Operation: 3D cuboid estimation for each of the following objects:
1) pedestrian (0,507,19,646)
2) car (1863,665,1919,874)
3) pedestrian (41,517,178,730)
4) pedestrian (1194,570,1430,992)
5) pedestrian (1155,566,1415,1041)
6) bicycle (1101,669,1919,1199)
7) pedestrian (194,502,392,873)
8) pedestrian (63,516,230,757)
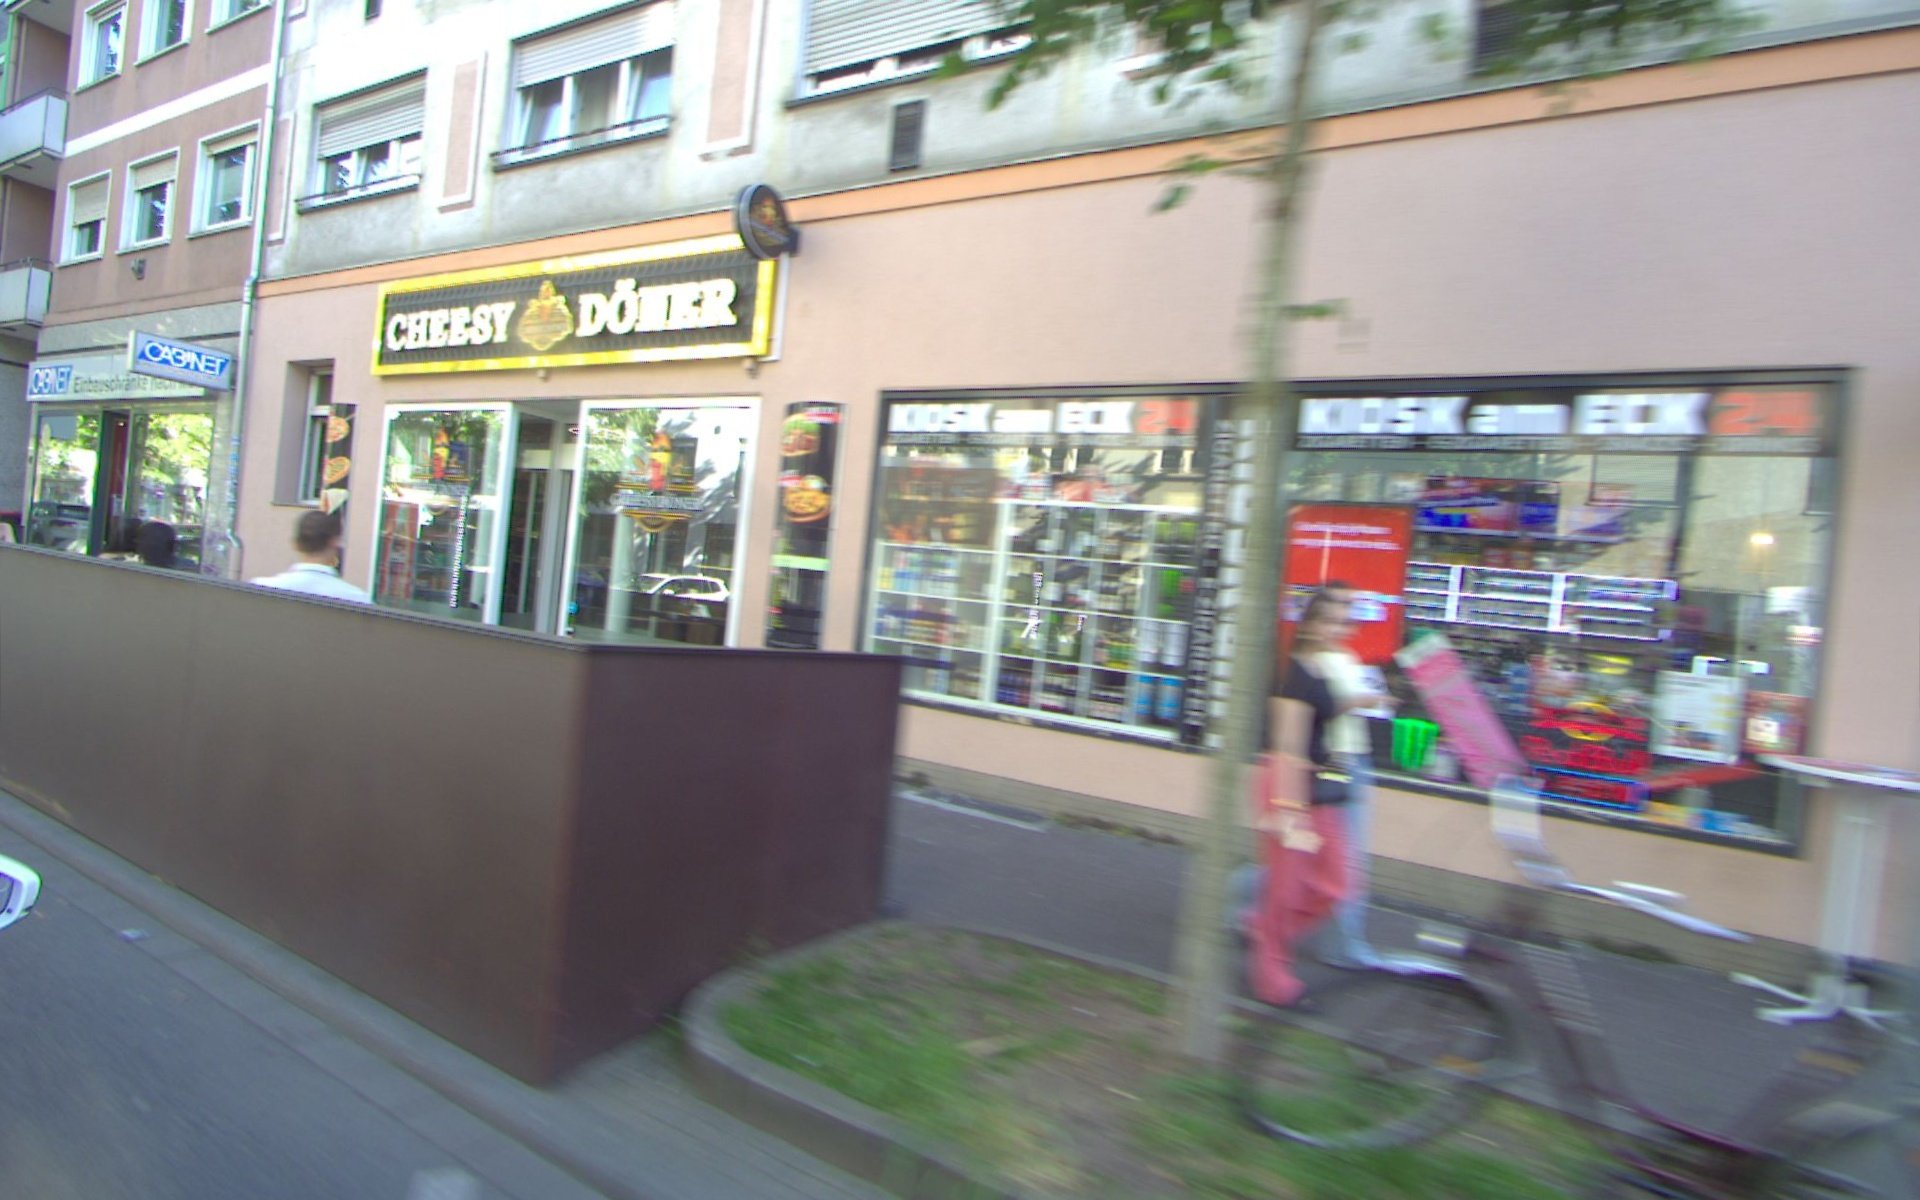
[{"bbox_3d":[-9.570,-0.252,9.786,0.470,1.347,0.478,6,0,-39],"label":"pedestrian"},{"bbox_3d":[9.879,1.702,7.695,1.905,1.941,4.495,7,0,5],"label":"car"},{"bbox_3d":[-5.875,0.159,6.951,0.584,1.379,0.473,6,0,32],"label":"pedestrian"},{"bbox_3d":[1.589,0.744,4.526,0.736,1.667,0.642,7,3,30],"label":"pedestrian"},{"bbox_3d":[1.292,0.738,4.007,0.736,1.667,0.513,7,3,31],"label":"pedestrian"},{"bbox_3d":[1.445,0.873,2.236,2.109,1.178,0.508,6,1,31],"label":"bicycle"},{"bbox_3d":[-3.000,0.373,4.536,0.454,1.548,0.473,6,0,32],"label":"pedestrian"},{"bbox_3d":[-5.081,0.223,6.294,0.584,1.396,0.553,6,0,32],"label":"pedestrian"}]
